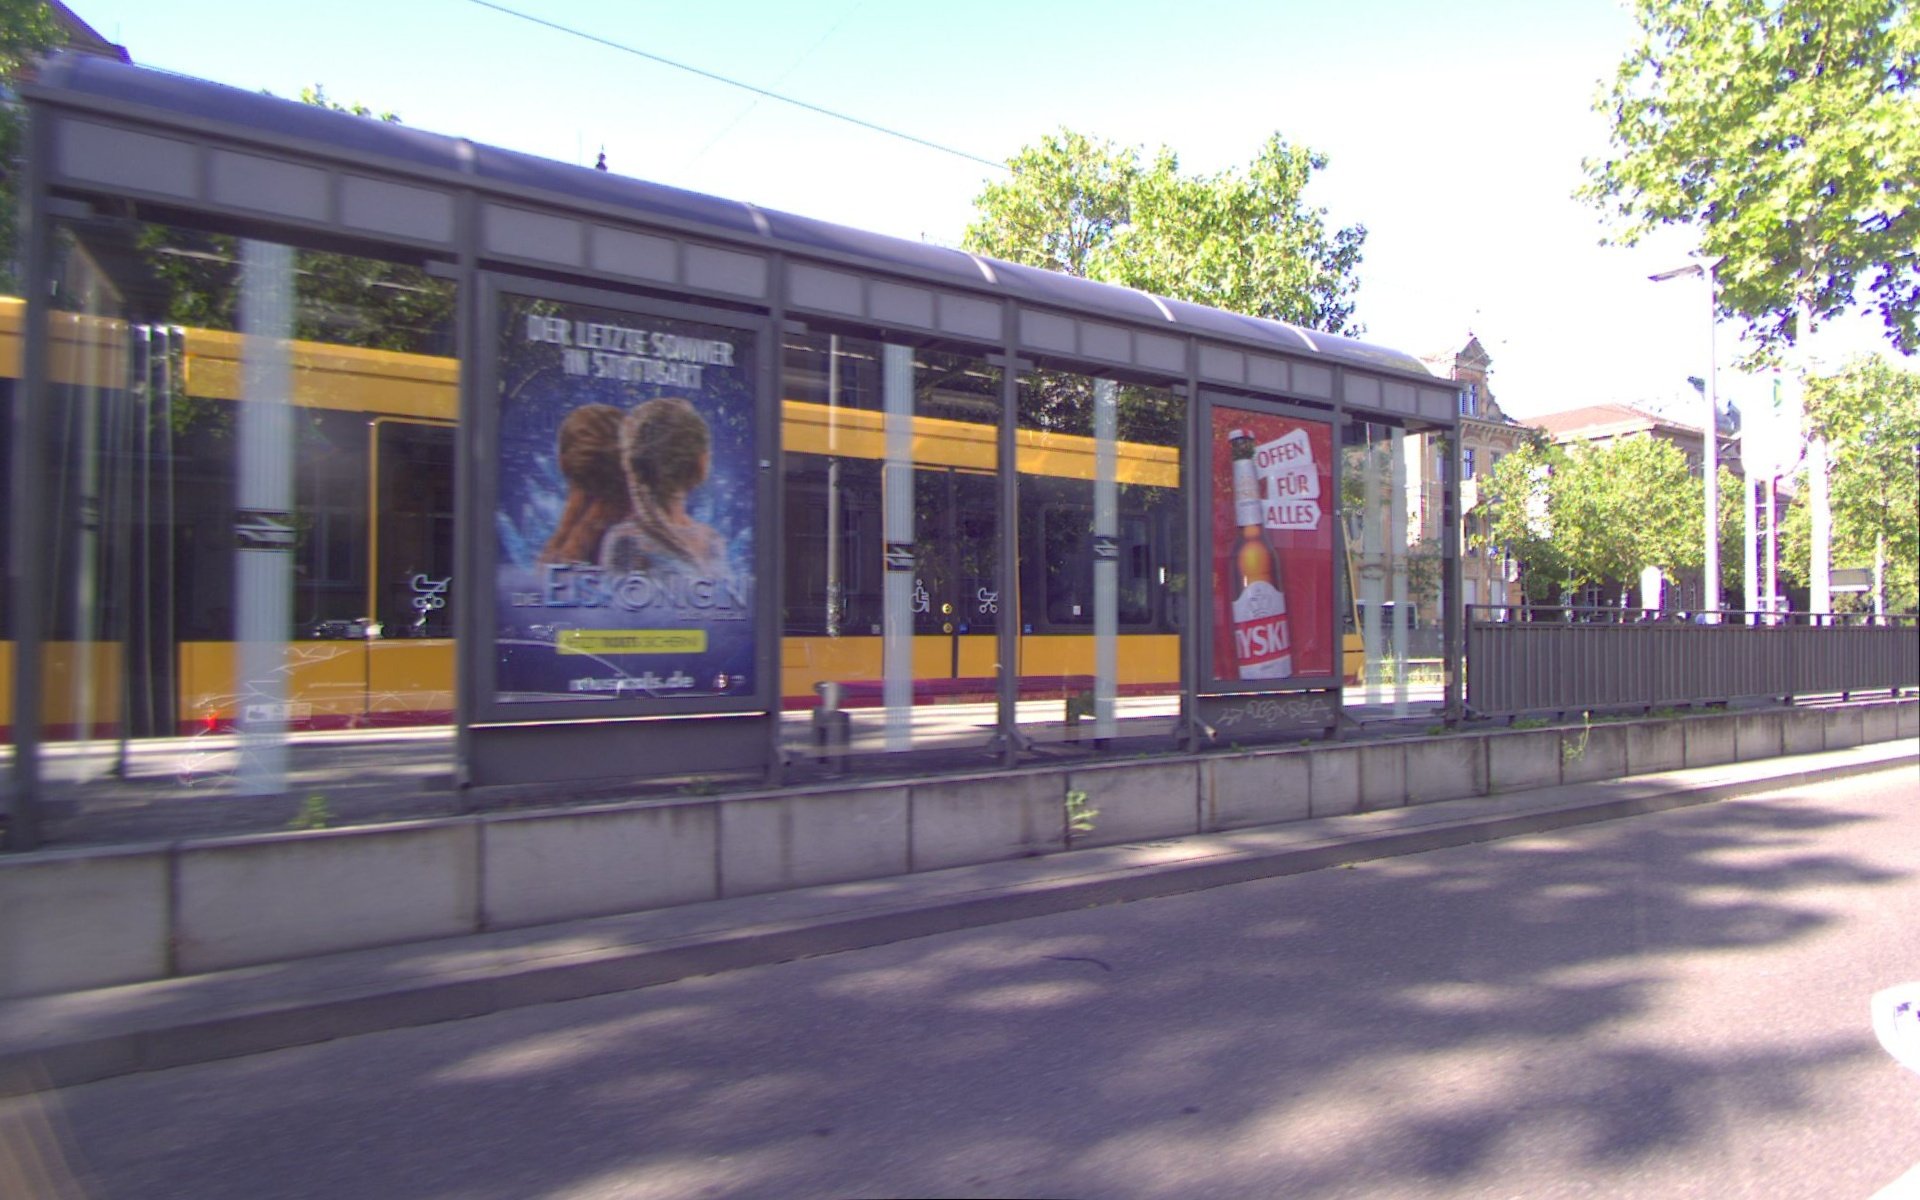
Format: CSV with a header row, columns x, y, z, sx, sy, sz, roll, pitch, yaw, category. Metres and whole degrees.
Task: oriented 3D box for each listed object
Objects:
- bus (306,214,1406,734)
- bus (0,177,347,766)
x,y,z,sx,sy,sz,roll,pitch,yaw,category
-0.107,-0.773,10.871,11.472,3.490,2.856,1,-1,-30,bus
-10.190,-0.794,4.980,12.069,3.490,2.856,1,-1,-30,bus
